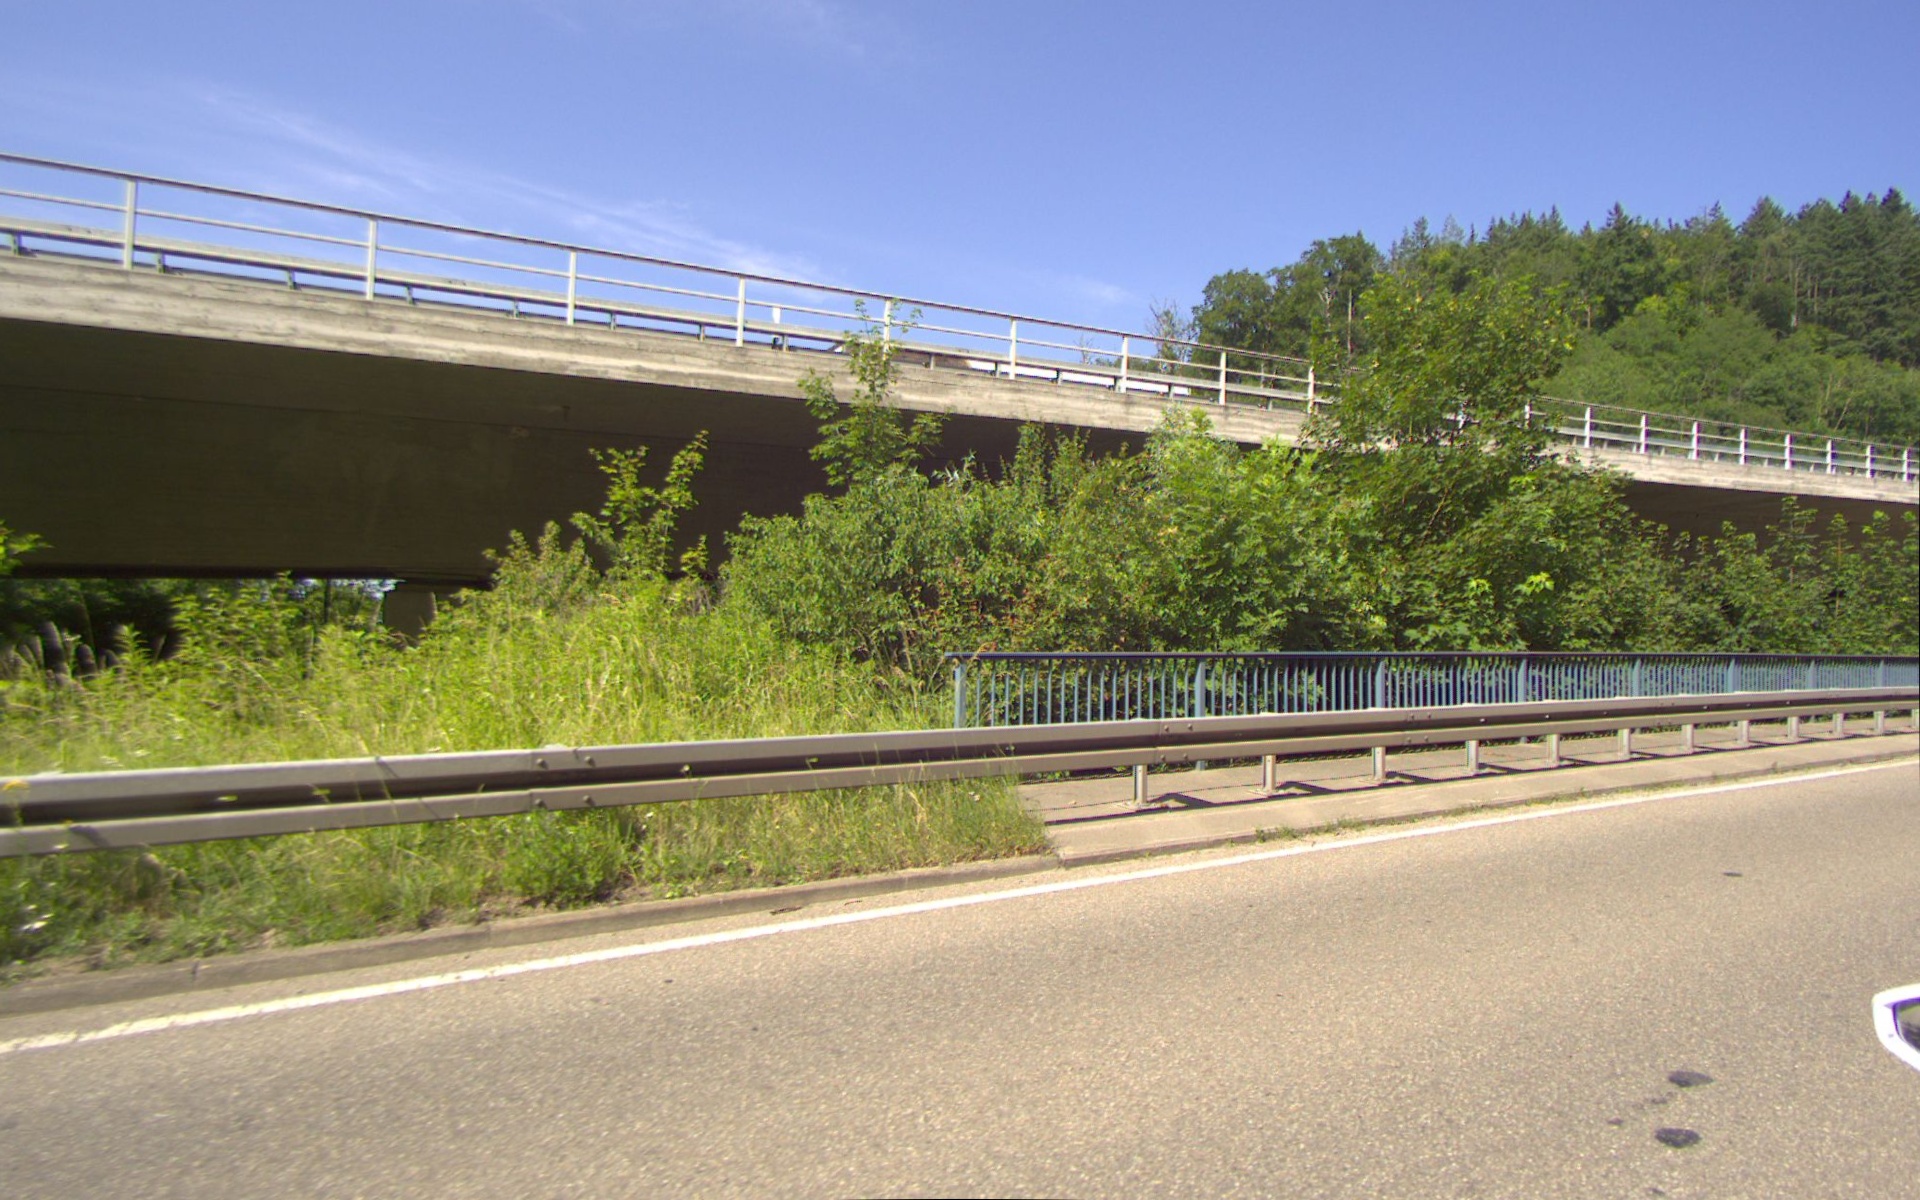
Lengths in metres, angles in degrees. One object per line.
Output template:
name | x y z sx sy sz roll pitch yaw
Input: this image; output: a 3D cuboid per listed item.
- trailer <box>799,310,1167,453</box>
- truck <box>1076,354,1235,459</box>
trailer | 1.124 -6.980 33.457 12.779 2.917 2.385 0 1 -28
truck | 7.166 -6.937 36.681 5.396 2.917 2.386 0 1 -27
